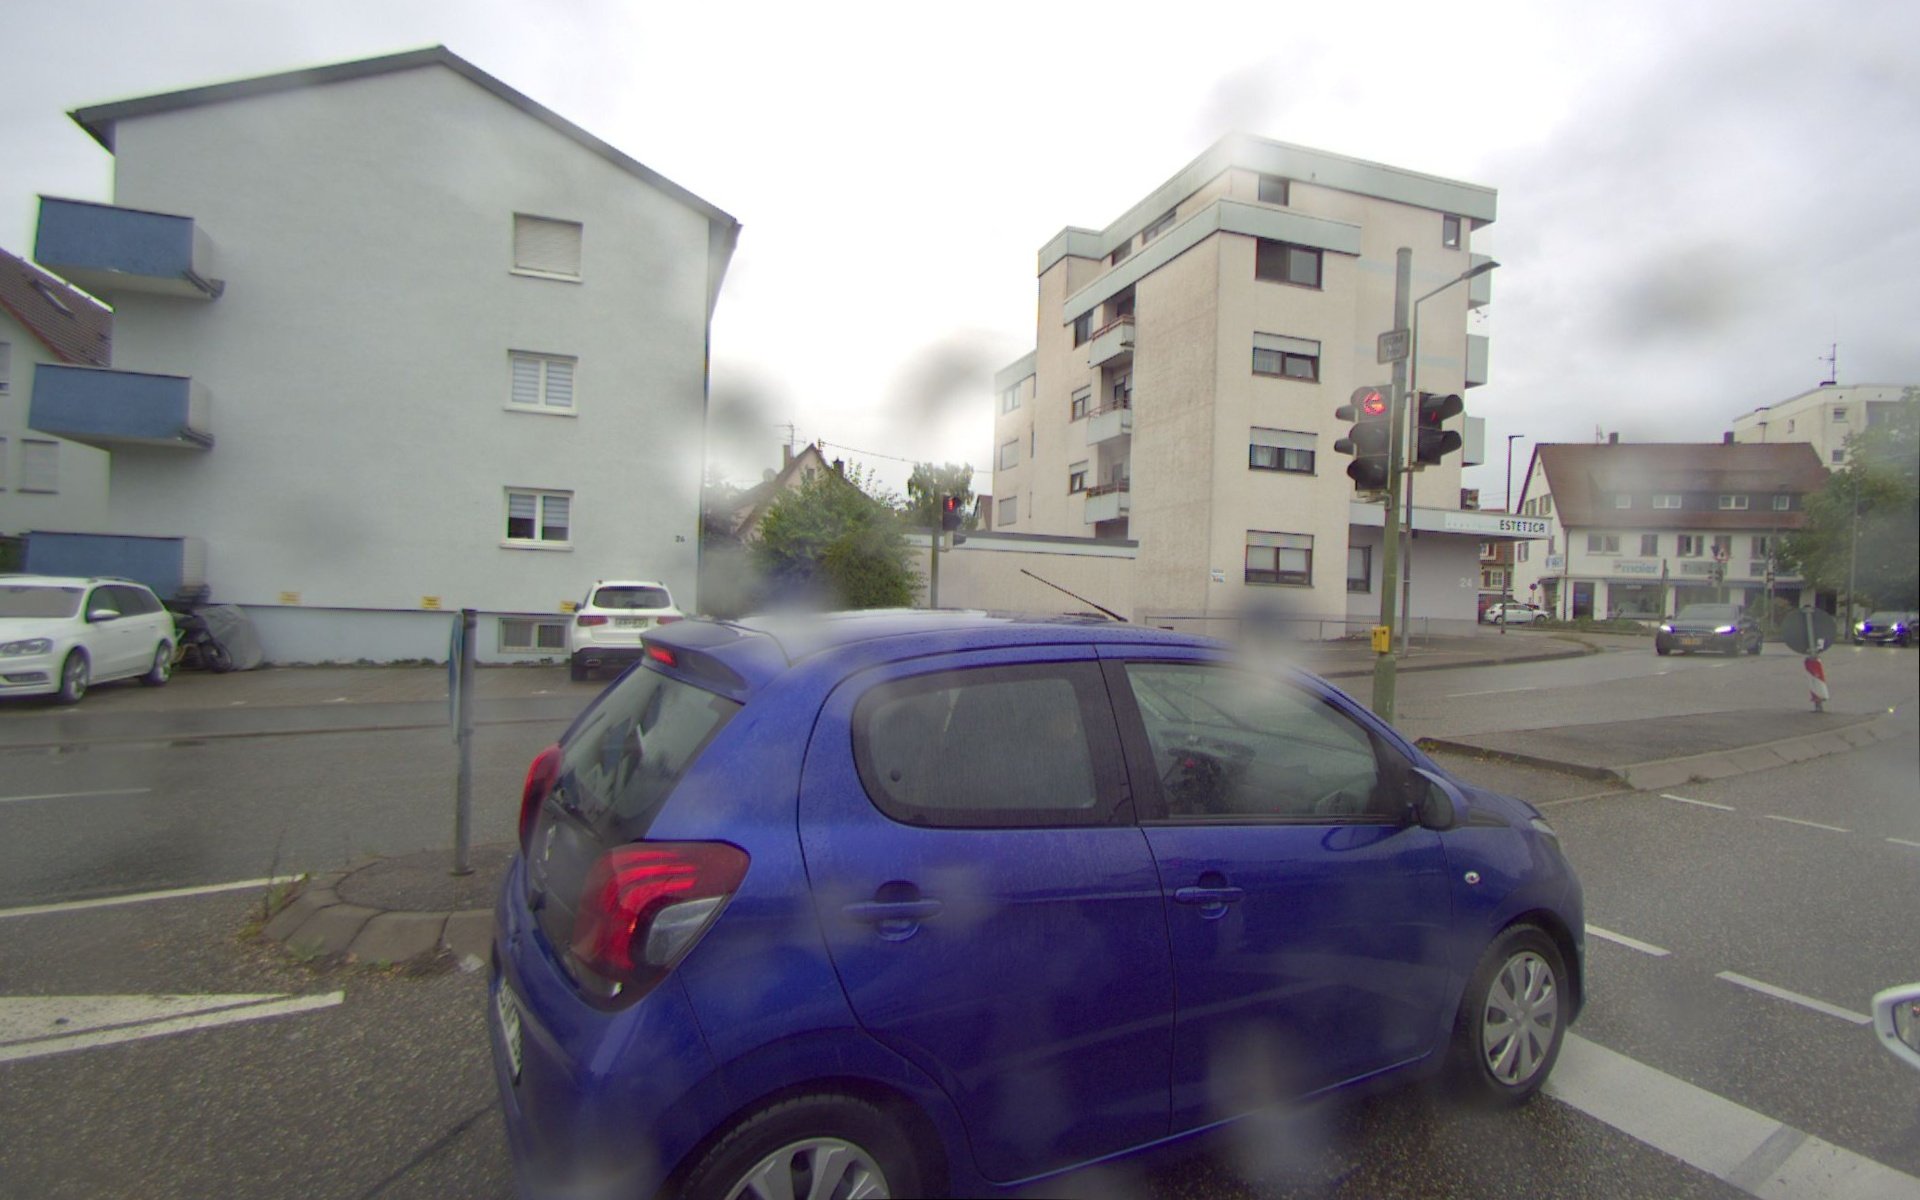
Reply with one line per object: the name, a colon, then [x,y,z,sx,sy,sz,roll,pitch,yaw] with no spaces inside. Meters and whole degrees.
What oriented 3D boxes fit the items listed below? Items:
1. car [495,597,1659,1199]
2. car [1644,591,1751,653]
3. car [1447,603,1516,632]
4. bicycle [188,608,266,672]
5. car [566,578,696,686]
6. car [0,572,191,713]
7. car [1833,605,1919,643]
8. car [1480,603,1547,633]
car: [0.467,0.740,3.089,3.324,1.432,1.498,1,1,-30]
car: [21.476,0.625,29.423,1.964,1.646,4.531,2,0,30]
car: [37.211,1.237,71.715,3.987,1.868,1.889,2,0,14]
bicycle: [-12.696,0.684,17.409,1.053,1.067,0.345,0,1,-30]
car: [-5.765,0.506,17.564,1.884,1.637,3.982,2,0,-19]
car: [-11.483,0.452,12.494,1.854,1.480,4.732,1,-1,-23]
car: [39.901,1.052,43.598,3.956,1.532,1.956,2,0,-32]
car: [37.919,1.213,68.884,3.611,1.946,1.889,2,0,14]
